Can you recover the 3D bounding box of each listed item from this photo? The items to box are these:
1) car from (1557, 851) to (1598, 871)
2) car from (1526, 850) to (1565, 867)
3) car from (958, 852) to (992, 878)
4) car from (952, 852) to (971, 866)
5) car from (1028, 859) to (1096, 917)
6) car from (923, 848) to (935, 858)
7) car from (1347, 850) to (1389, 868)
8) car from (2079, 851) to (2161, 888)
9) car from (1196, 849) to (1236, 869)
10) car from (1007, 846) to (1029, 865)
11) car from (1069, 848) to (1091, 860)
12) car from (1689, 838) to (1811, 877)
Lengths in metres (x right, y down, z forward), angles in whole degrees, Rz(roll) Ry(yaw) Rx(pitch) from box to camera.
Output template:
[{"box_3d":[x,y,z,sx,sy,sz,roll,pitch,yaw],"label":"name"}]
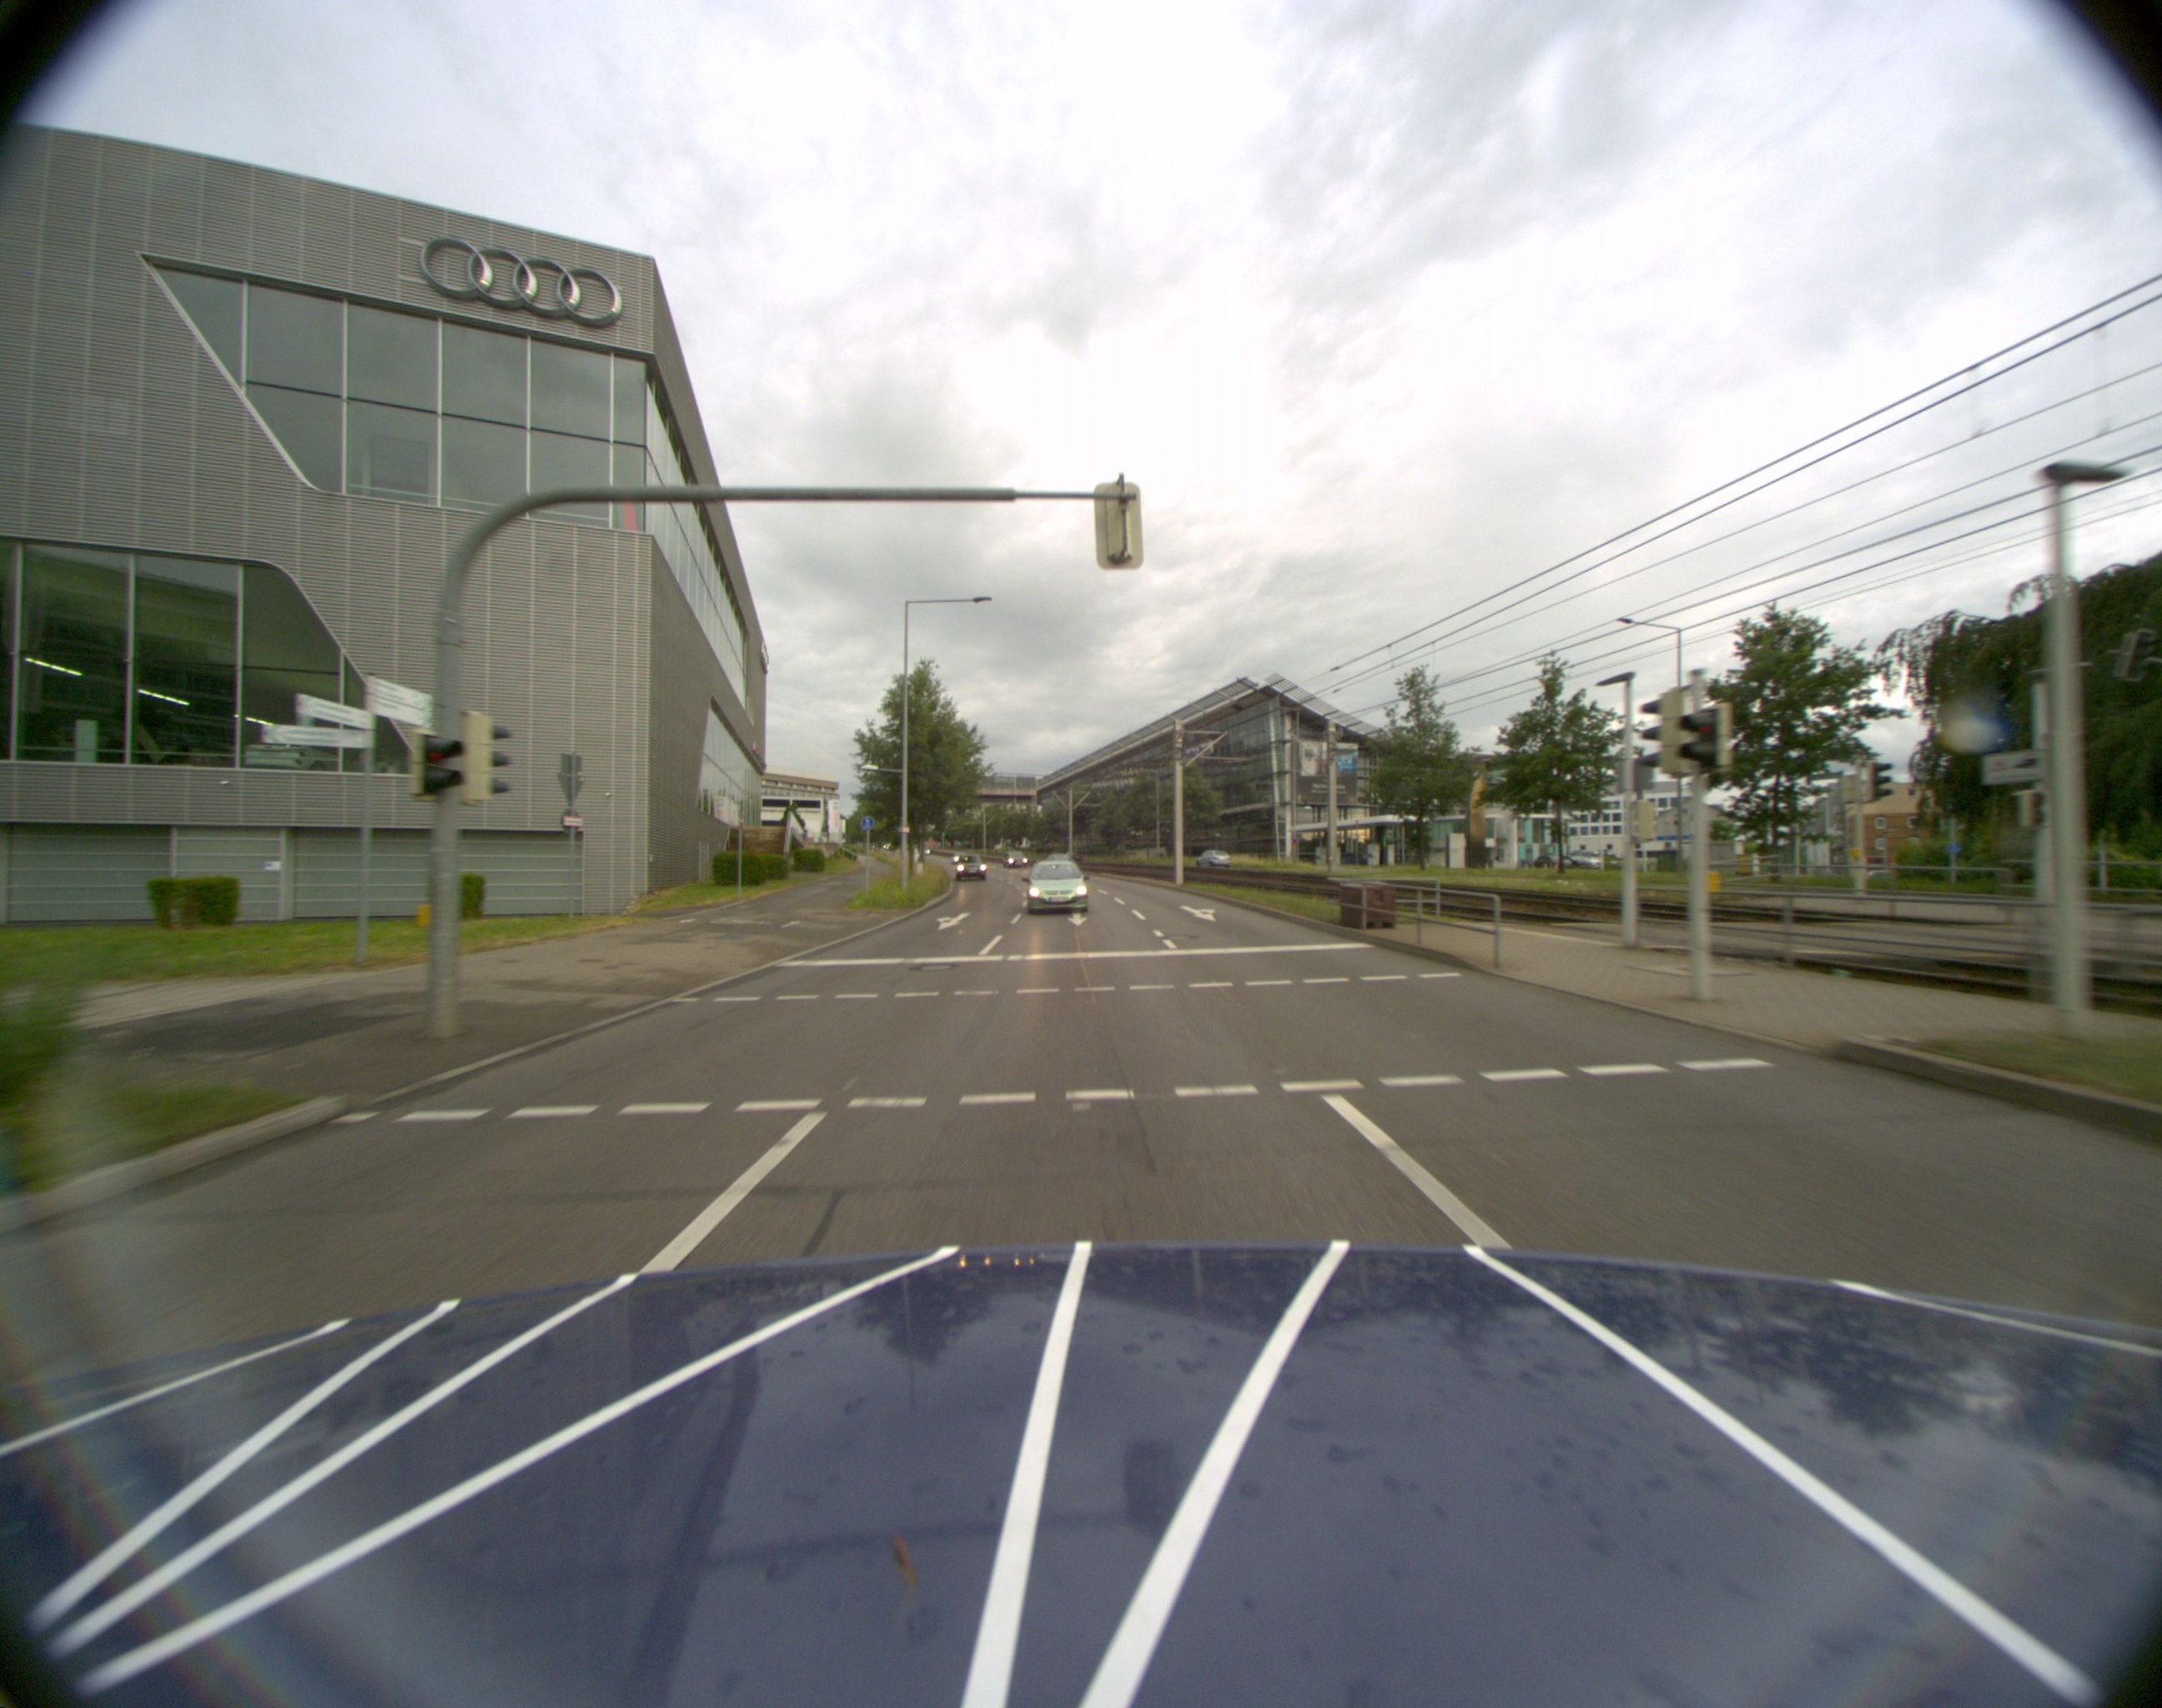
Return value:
[{"box_3d":[55.899,0.739,85.603,1.907,2.003,3.742,-1,2,-6],"label":"car"},{"box_3d":[51.947,0.473,85.096,1.782,1.700,3.745,-1,2,-6],"label":"car"},{"box_3d":[-6.812,0.705,49.155,1.829,1.599,4.112,-1,0,-4],"label":"car"},{"box_3d":[-14.760,0.626,94.058,1.863,1.673,4.108,1,-1,-15],"label":"car"},{"box_3d":[-0.612,0.943,22.968,1.829,1.499,4.112,-1,0,-3],"label":"car"},{"box_3d":[-31.751,-0.256,158.378,2.001,2.003,3.993,-2,2,-16],"label":"car"},{"box_3d":[32.533,0.528,86.144,1.898,1.840,3.988,-4,3,-44],"label":"car"},{"box_3d":[47.525,0.695,33.548,2.004,1.501,3.988,-3,3,-43],"label":"car"},{"box_3d":[12.436,0.446,70.329,2.001,1.670,3.993,-2,1,-18],"label":"car"},{"box_3d":[-6.228,0.183,74.661,1.862,1.799,4.111,-1,0,-9],"label":"car"},{"box_3d":[-0.122,-0.021,103.377,1.890,1.512,4.397,3,0,-15],"label":"car"},{"box_3d":[31.990,0.126,36.499,2.001,1.641,3.994,-2,2,-12],"label":"car"}]
